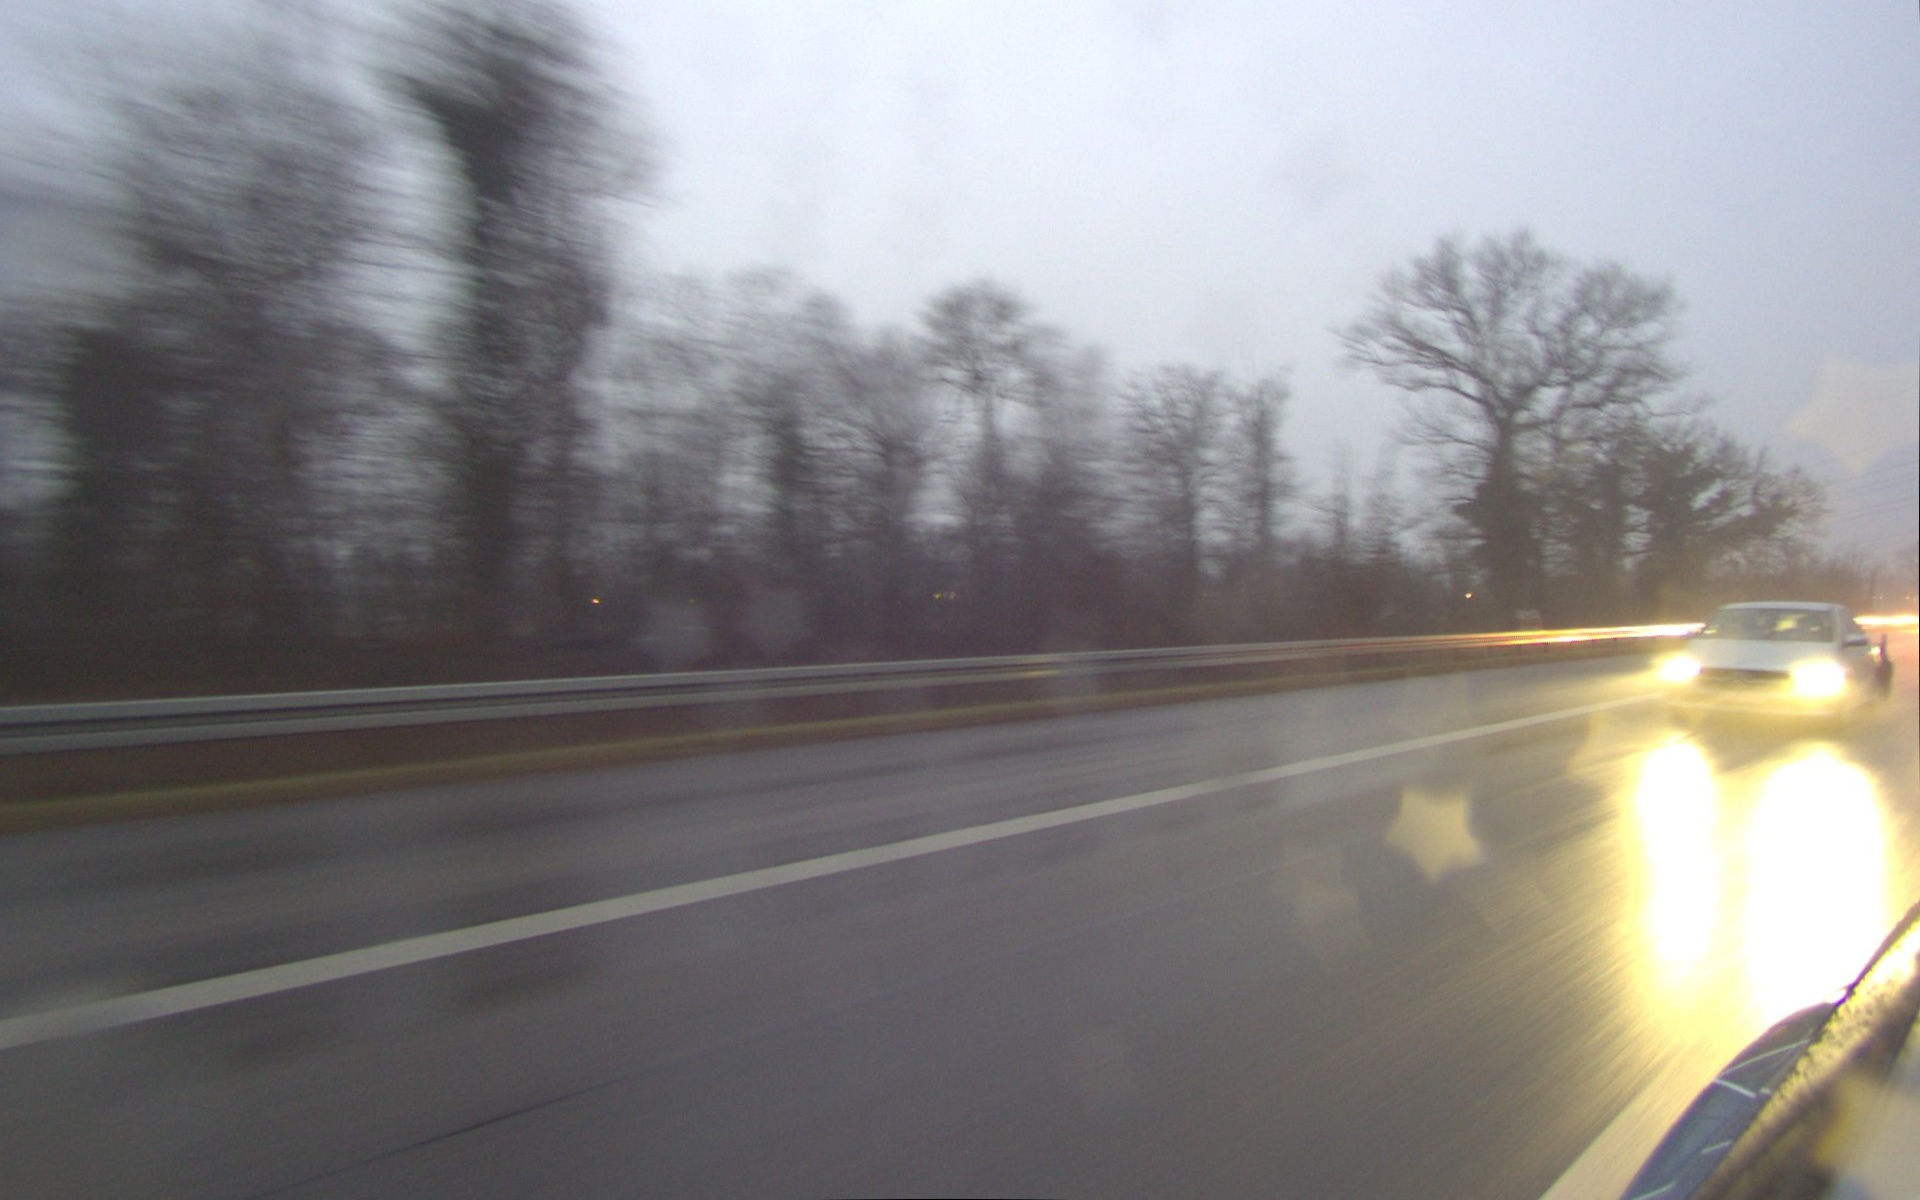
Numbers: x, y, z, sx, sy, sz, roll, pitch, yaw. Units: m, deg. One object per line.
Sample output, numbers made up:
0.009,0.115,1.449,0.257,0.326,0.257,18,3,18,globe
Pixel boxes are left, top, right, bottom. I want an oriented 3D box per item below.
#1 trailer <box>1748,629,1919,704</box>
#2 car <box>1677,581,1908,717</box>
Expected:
13.577,0.965,15.596,2.899,0.937,1.751,0,0,-41,trailer
11.093,0.549,13.408,3.745,1.536,1.789,0,0,-41,car
